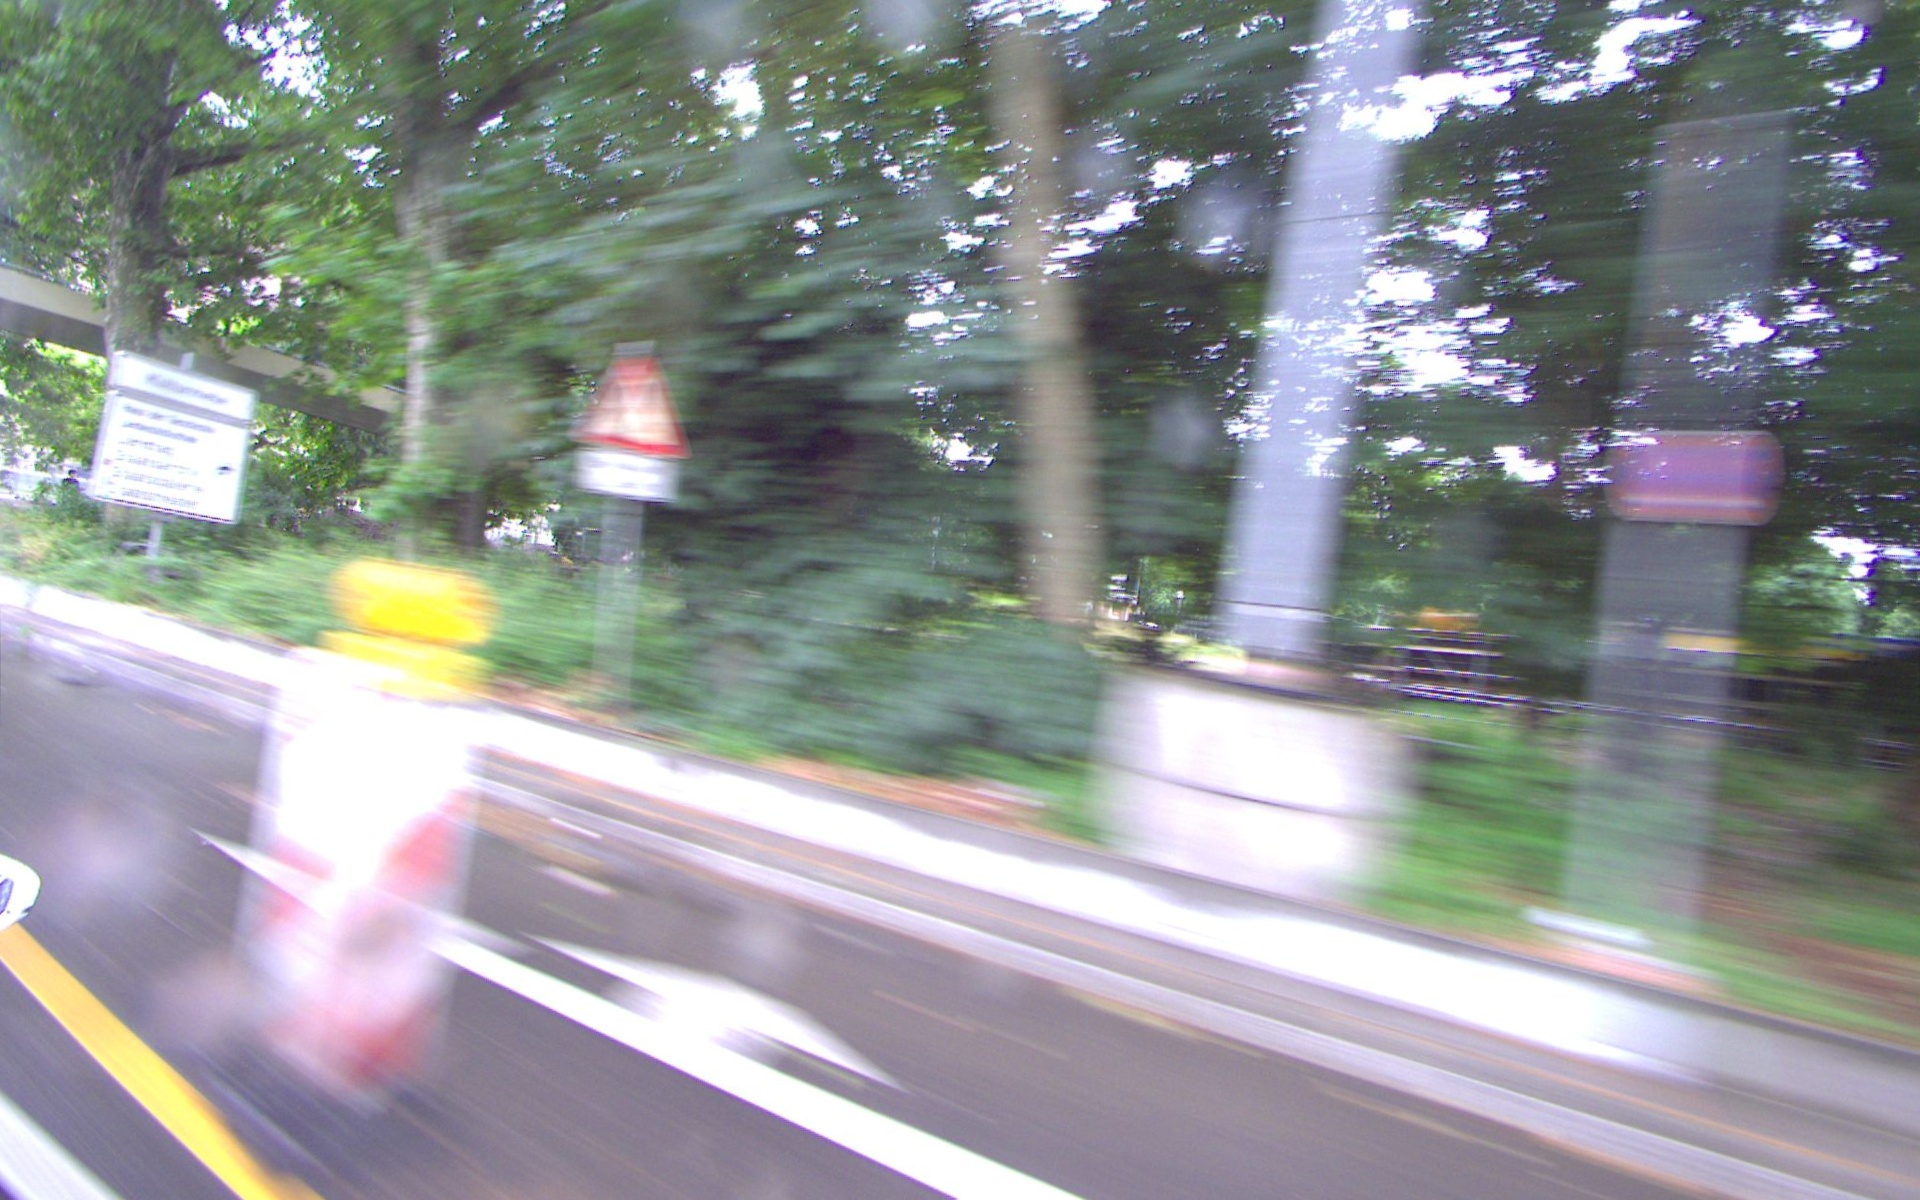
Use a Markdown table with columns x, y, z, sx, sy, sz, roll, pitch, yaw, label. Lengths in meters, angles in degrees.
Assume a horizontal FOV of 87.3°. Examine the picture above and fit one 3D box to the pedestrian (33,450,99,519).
| x | y | z | sx | sy | sz | roll | pitch | yaw | label |
| --- | --- | --- | --- | --- | --- | --- | --- | --- | --- |
| -29.461 | -3.782 | 33.170 | 1.021 | 2.039 | 1.051 | 8 | 1 | -5 | pedestrian |
